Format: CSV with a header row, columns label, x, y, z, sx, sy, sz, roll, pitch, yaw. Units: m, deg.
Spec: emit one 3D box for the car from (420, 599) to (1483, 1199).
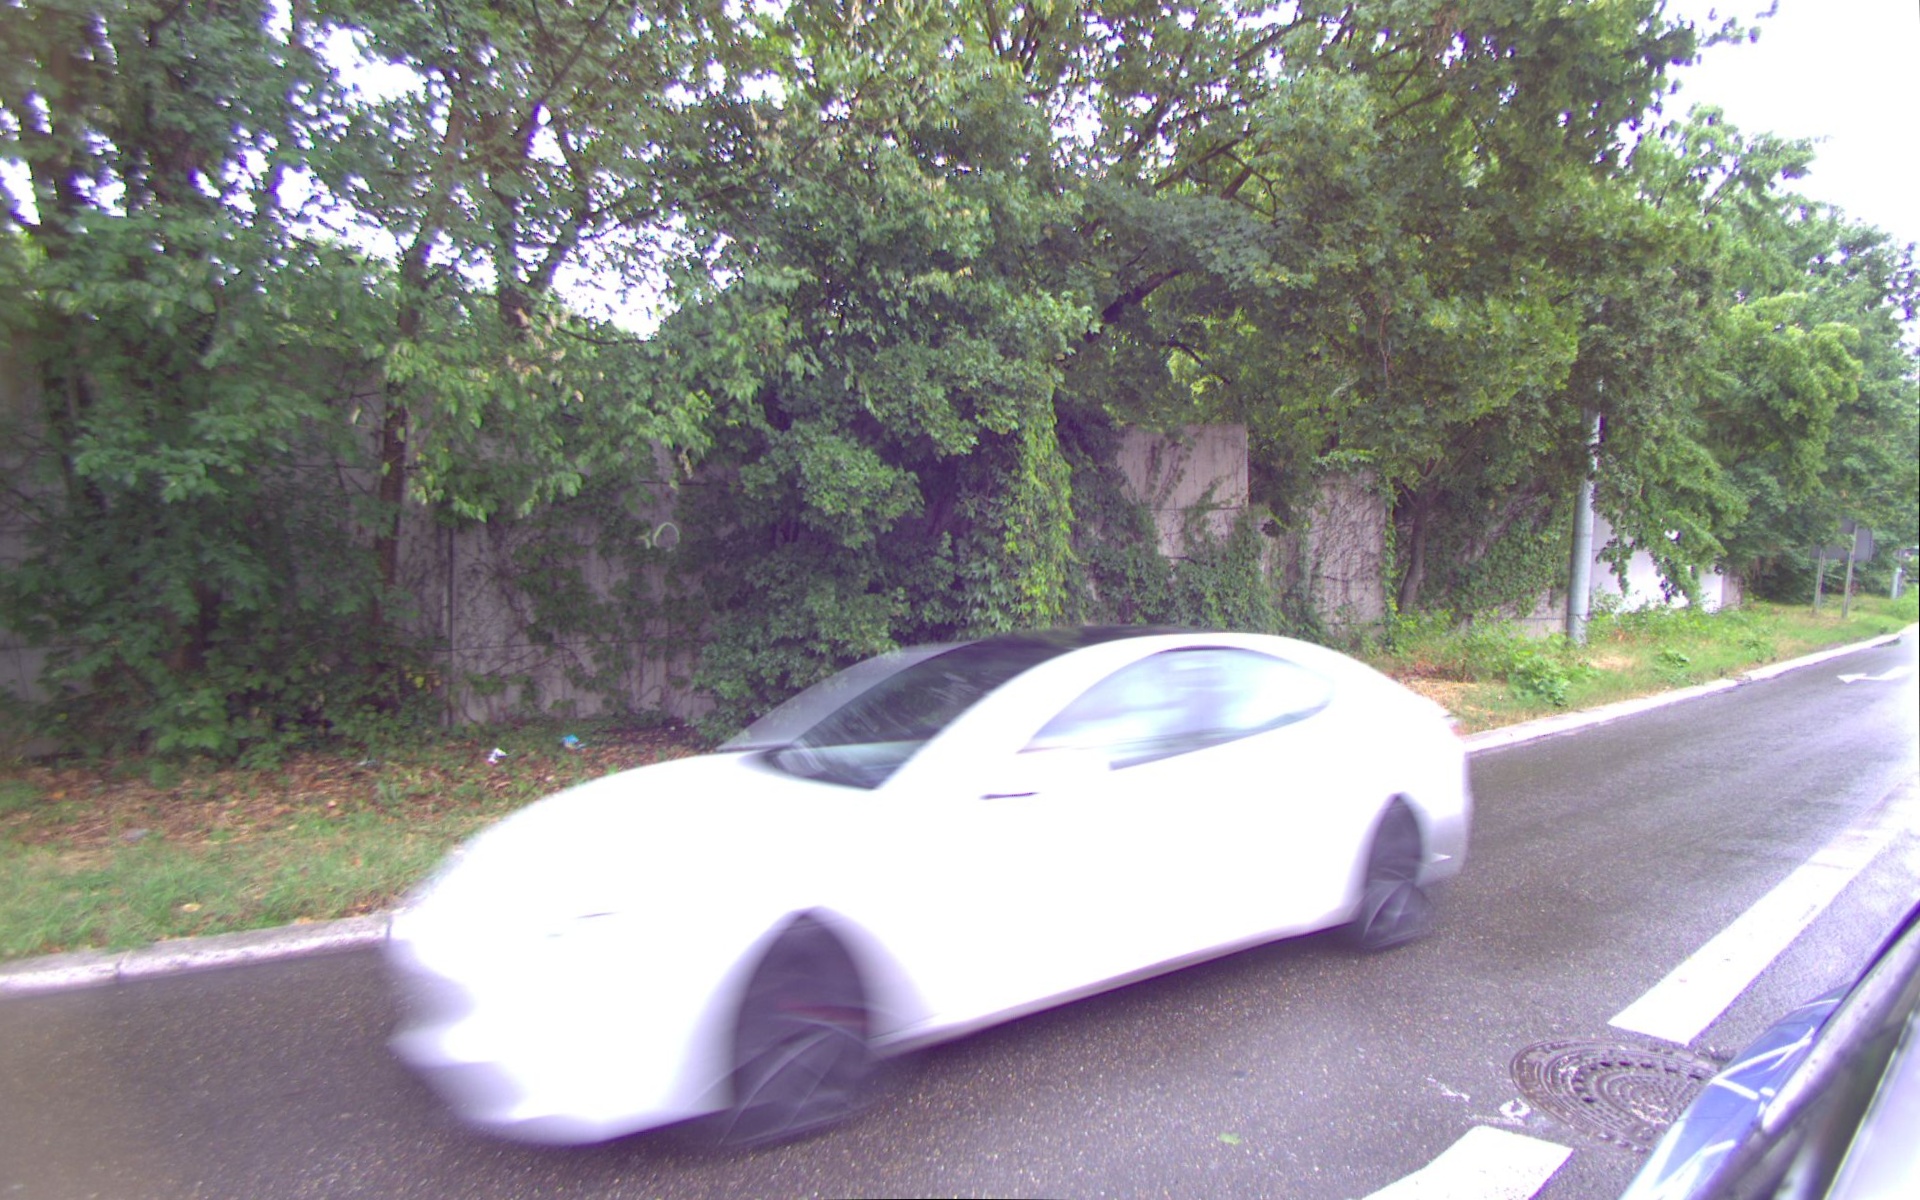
label,x,y,z,sx,sy,sz,roll,pitch,yaw
car,0.149,0.745,4.303,4.190,1.451,1.842,-1,0,-33
